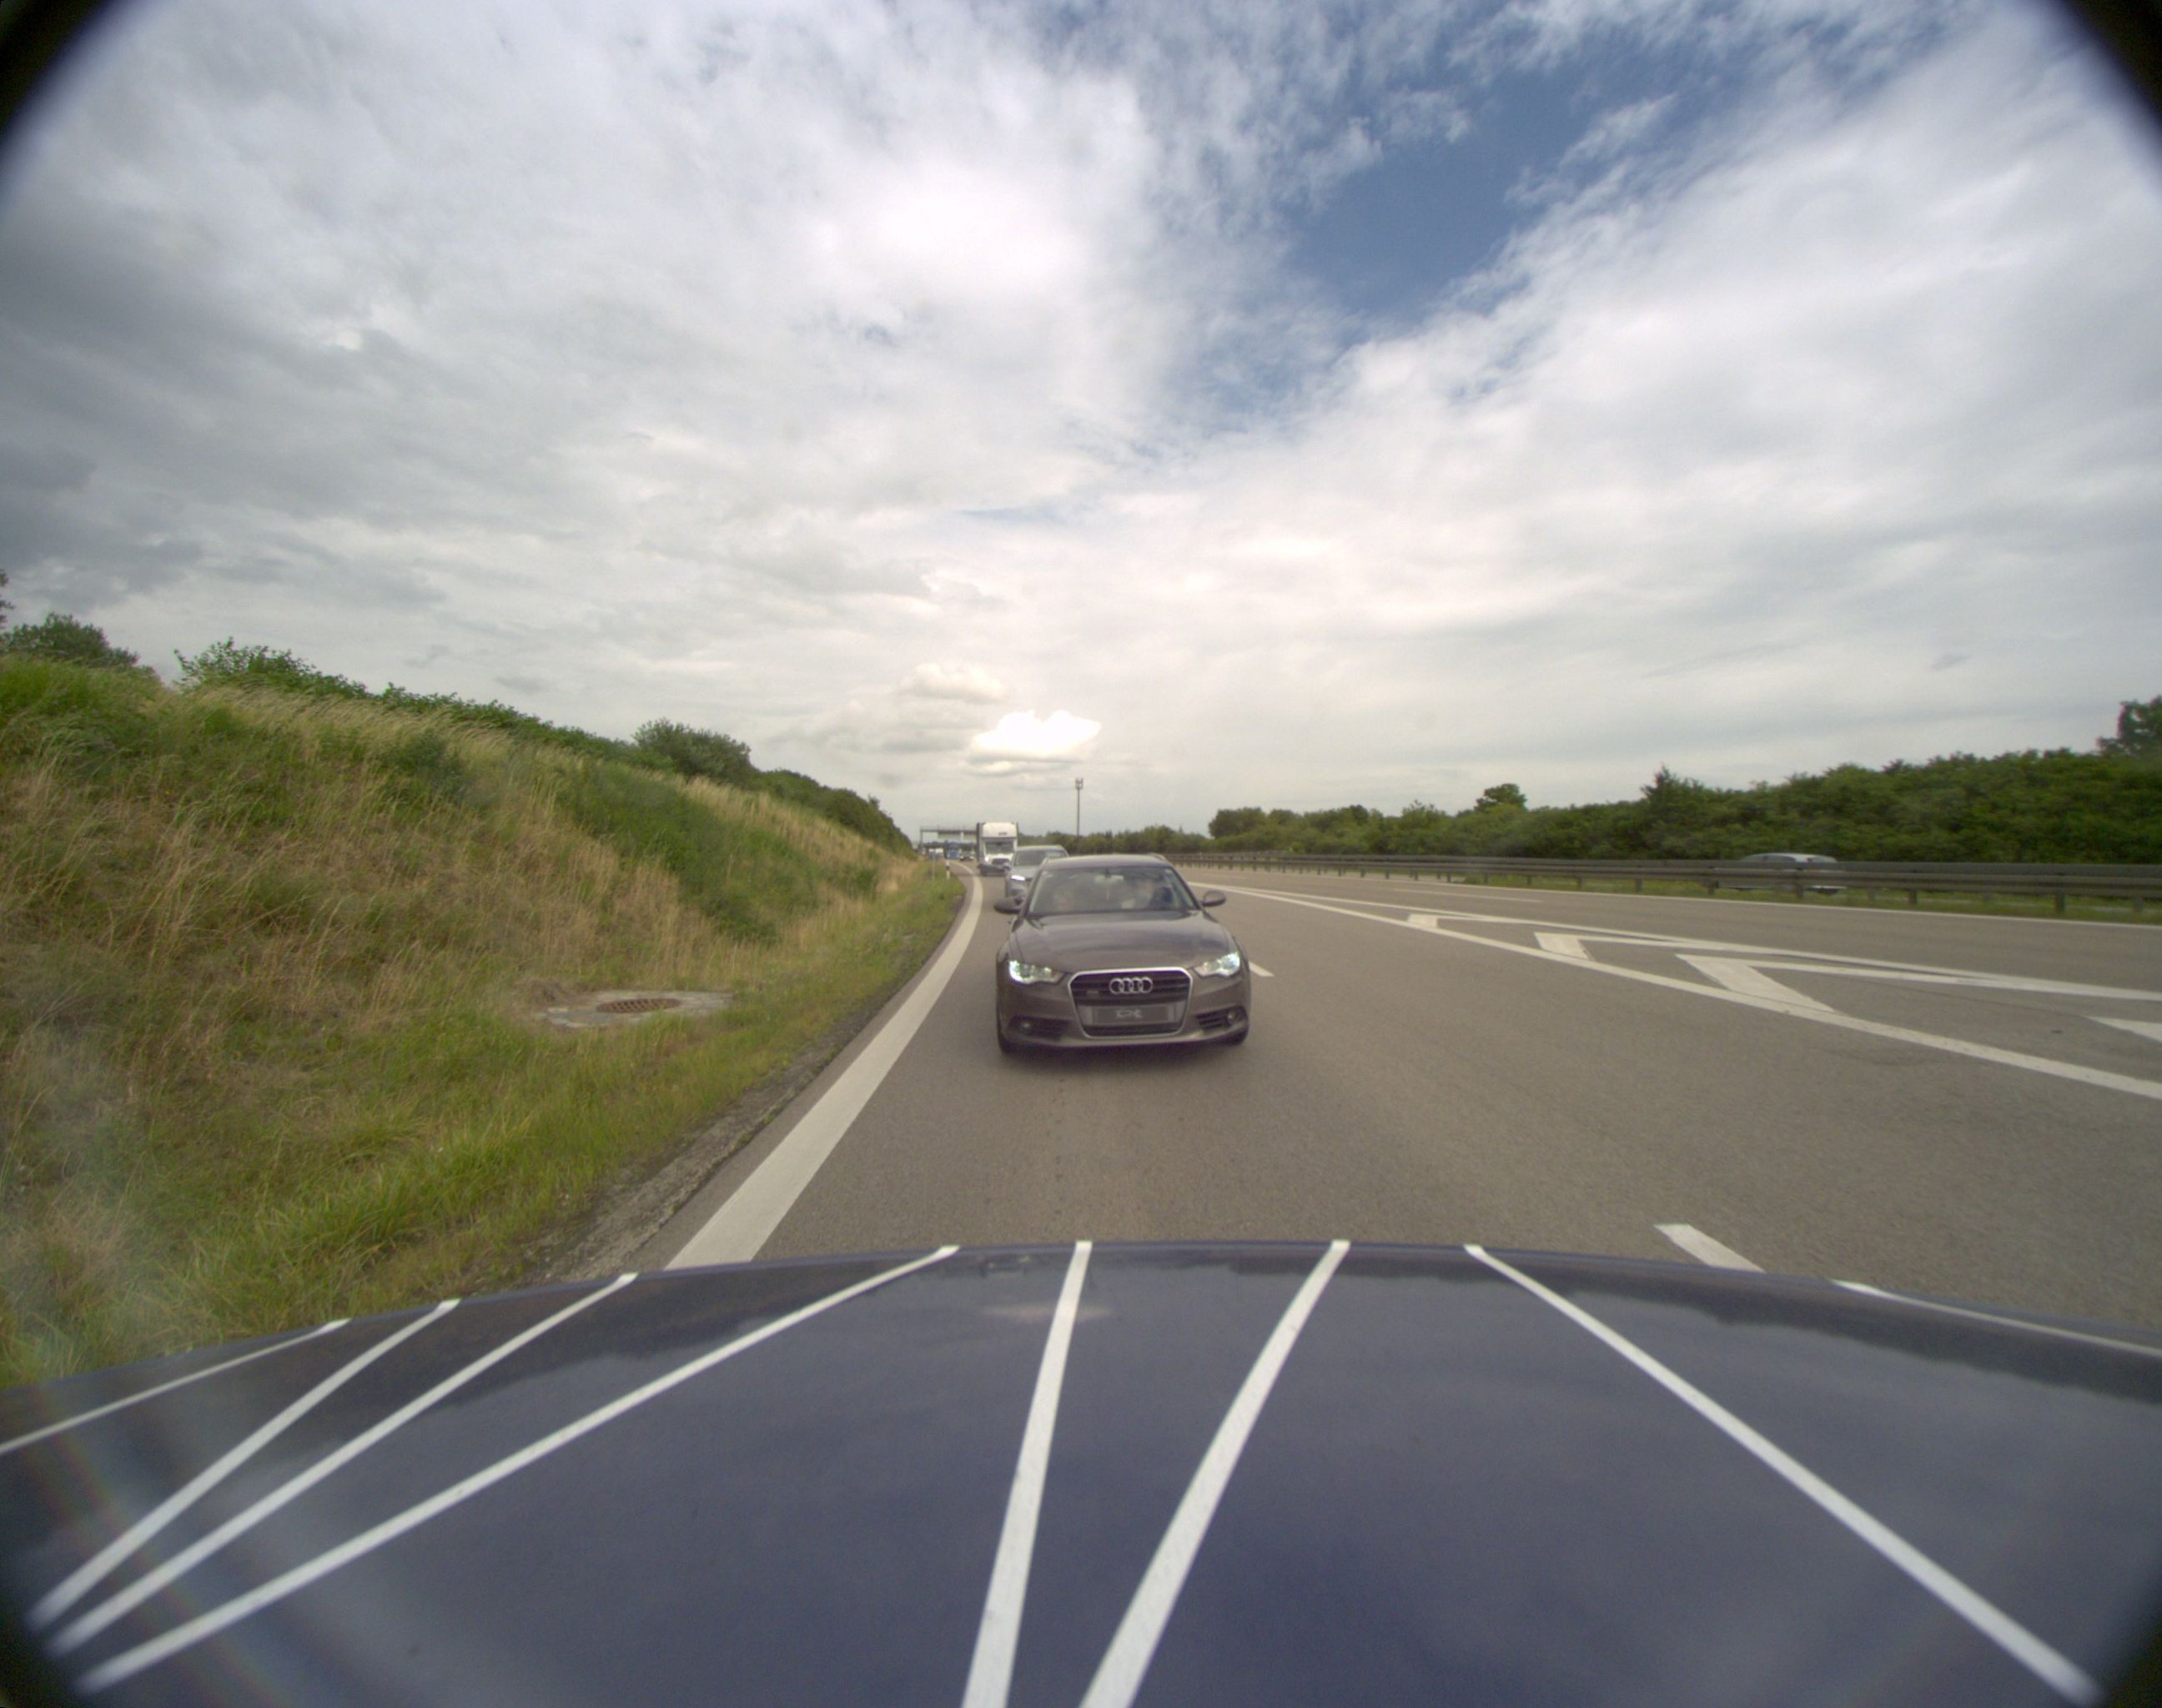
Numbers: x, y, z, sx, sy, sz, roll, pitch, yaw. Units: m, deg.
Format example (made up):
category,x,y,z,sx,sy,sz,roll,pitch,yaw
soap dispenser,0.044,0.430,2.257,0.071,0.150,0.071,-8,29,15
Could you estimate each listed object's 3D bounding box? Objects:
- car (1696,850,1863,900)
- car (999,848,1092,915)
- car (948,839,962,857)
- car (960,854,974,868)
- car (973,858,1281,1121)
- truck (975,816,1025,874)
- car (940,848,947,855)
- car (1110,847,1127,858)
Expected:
category,x,y,z,sx,sy,sz,roll,pitch,yaw
car,24.288,0.671,26.622,1.810,1.587,3.995,-1,1,-12
car,-1.054,0.639,20.192,2.000,1.567,3.996,-1,1,-10
car,-26.493,-1.355,159.455,2.506,3.689,7.693,-1,1,-11
car,-17.048,0.996,113.537,2.000,2.002,3.995,-1,1,-11
car,0.272,0.840,6.666,1.849,1.489,4.028,-2,1,-1
truck,-5.045,-0.533,46.129,2.450,3.217,7.184,-1,1,-11
car,-39.519,-0.688,218.154,1.931,2.020,3.996,-1,1,-11
car,6.021,-0.251,122.166,2.000,1.792,3.996,-1,1,-10
